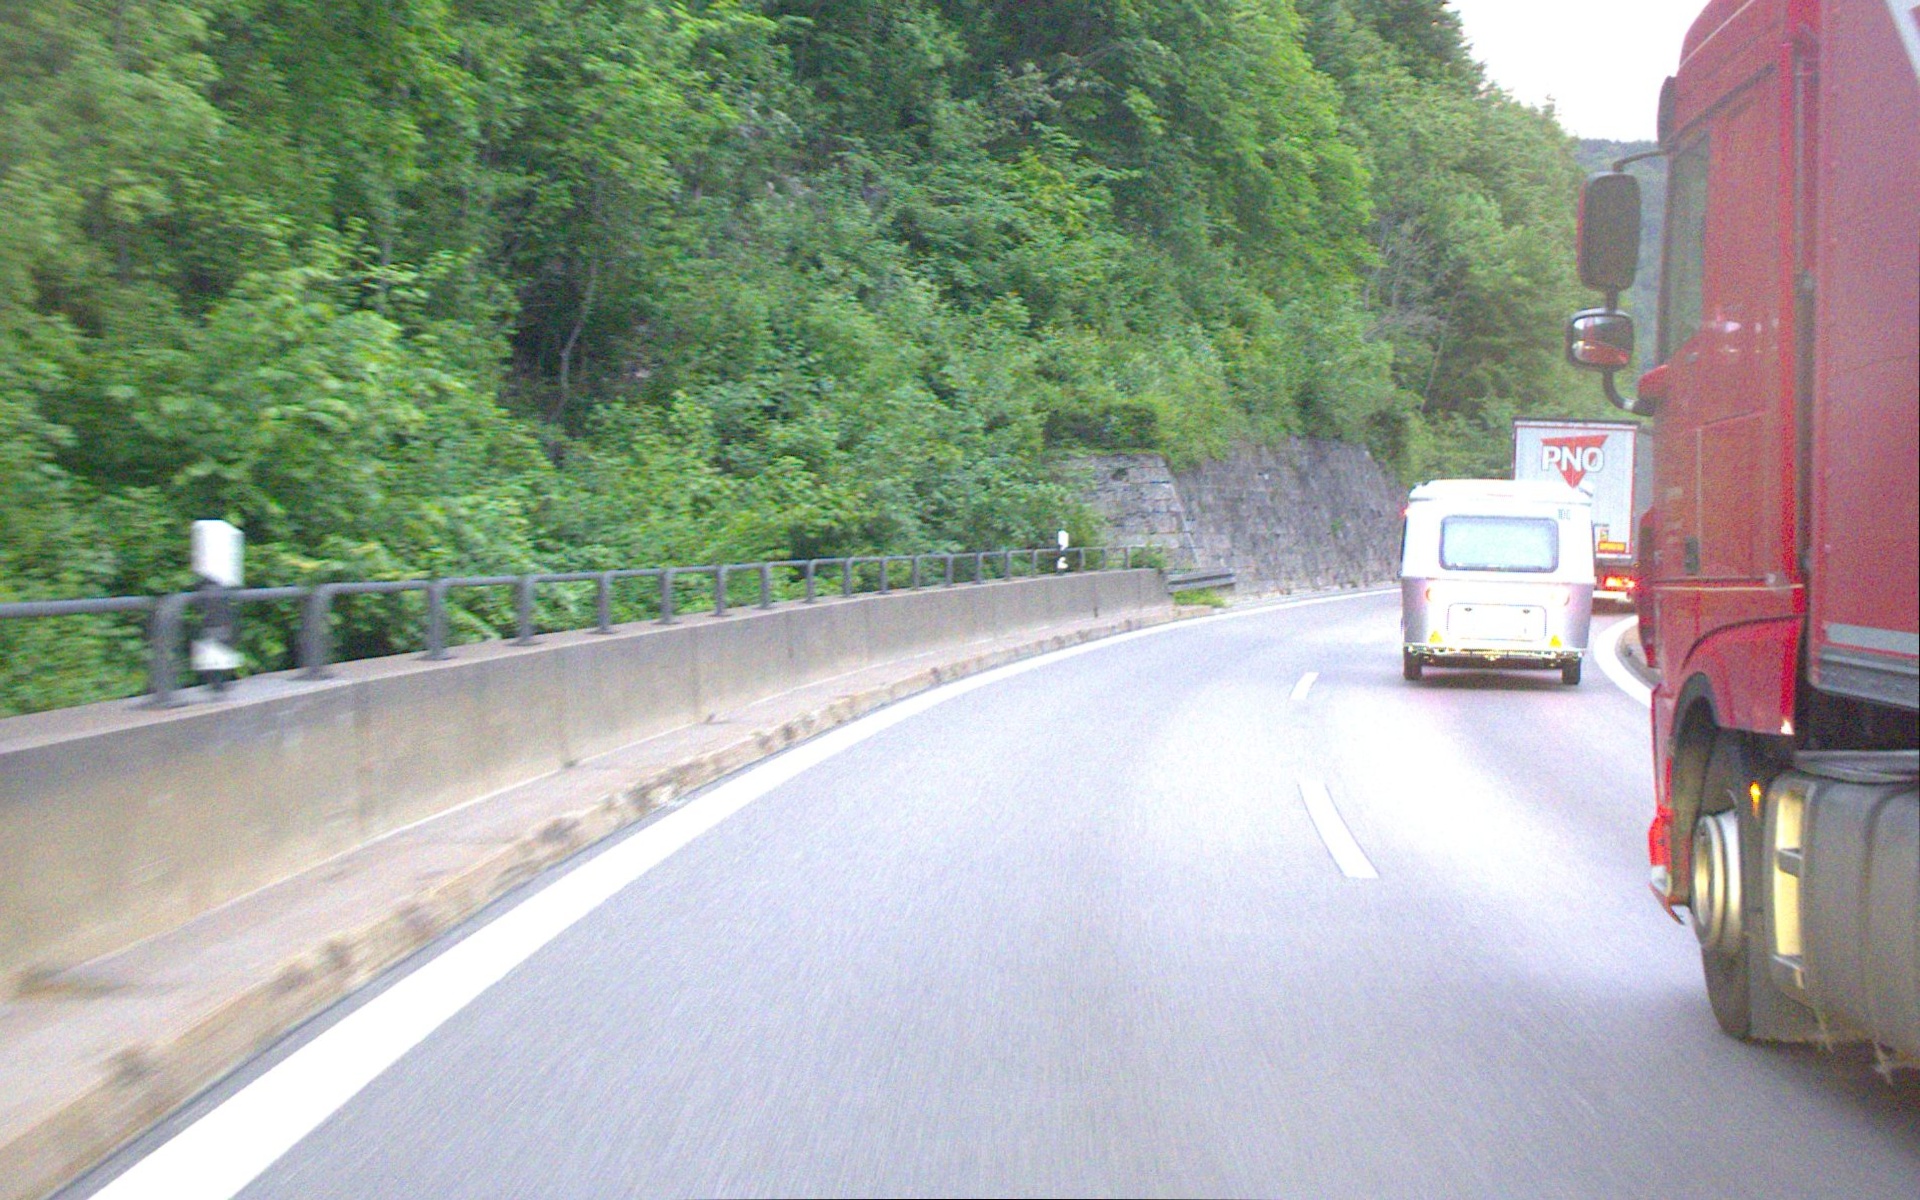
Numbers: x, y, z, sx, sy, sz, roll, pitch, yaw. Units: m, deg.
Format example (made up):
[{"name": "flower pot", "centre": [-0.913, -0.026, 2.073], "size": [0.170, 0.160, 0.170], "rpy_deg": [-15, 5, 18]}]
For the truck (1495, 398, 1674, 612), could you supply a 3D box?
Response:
[{"name": "truck", "centre": [13.899, -1.999, 77.729], "size": [3.296, 4.159, 16.497], "rpy_deg": [-3, 0, 9]}]

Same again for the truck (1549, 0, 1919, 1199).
[{"name": "truck", "centre": [3.757, -0.643, 9.476], "size": [3.069, 4.130, 6.447], "rpy_deg": [2, 0, 1]}]

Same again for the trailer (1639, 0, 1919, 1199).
[{"name": "trailer", "centre": [3.736, -0.483, 2.942], "size": [3.097, 3.956, 14.219], "rpy_deg": [-1, 1, -2]}]

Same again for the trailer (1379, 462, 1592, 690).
[{"name": "trailer", "centre": [5.907, -0.333, 39.269], "size": [2.055, 2.367, 5.937], "rpy_deg": [1, 2, 6]}]
